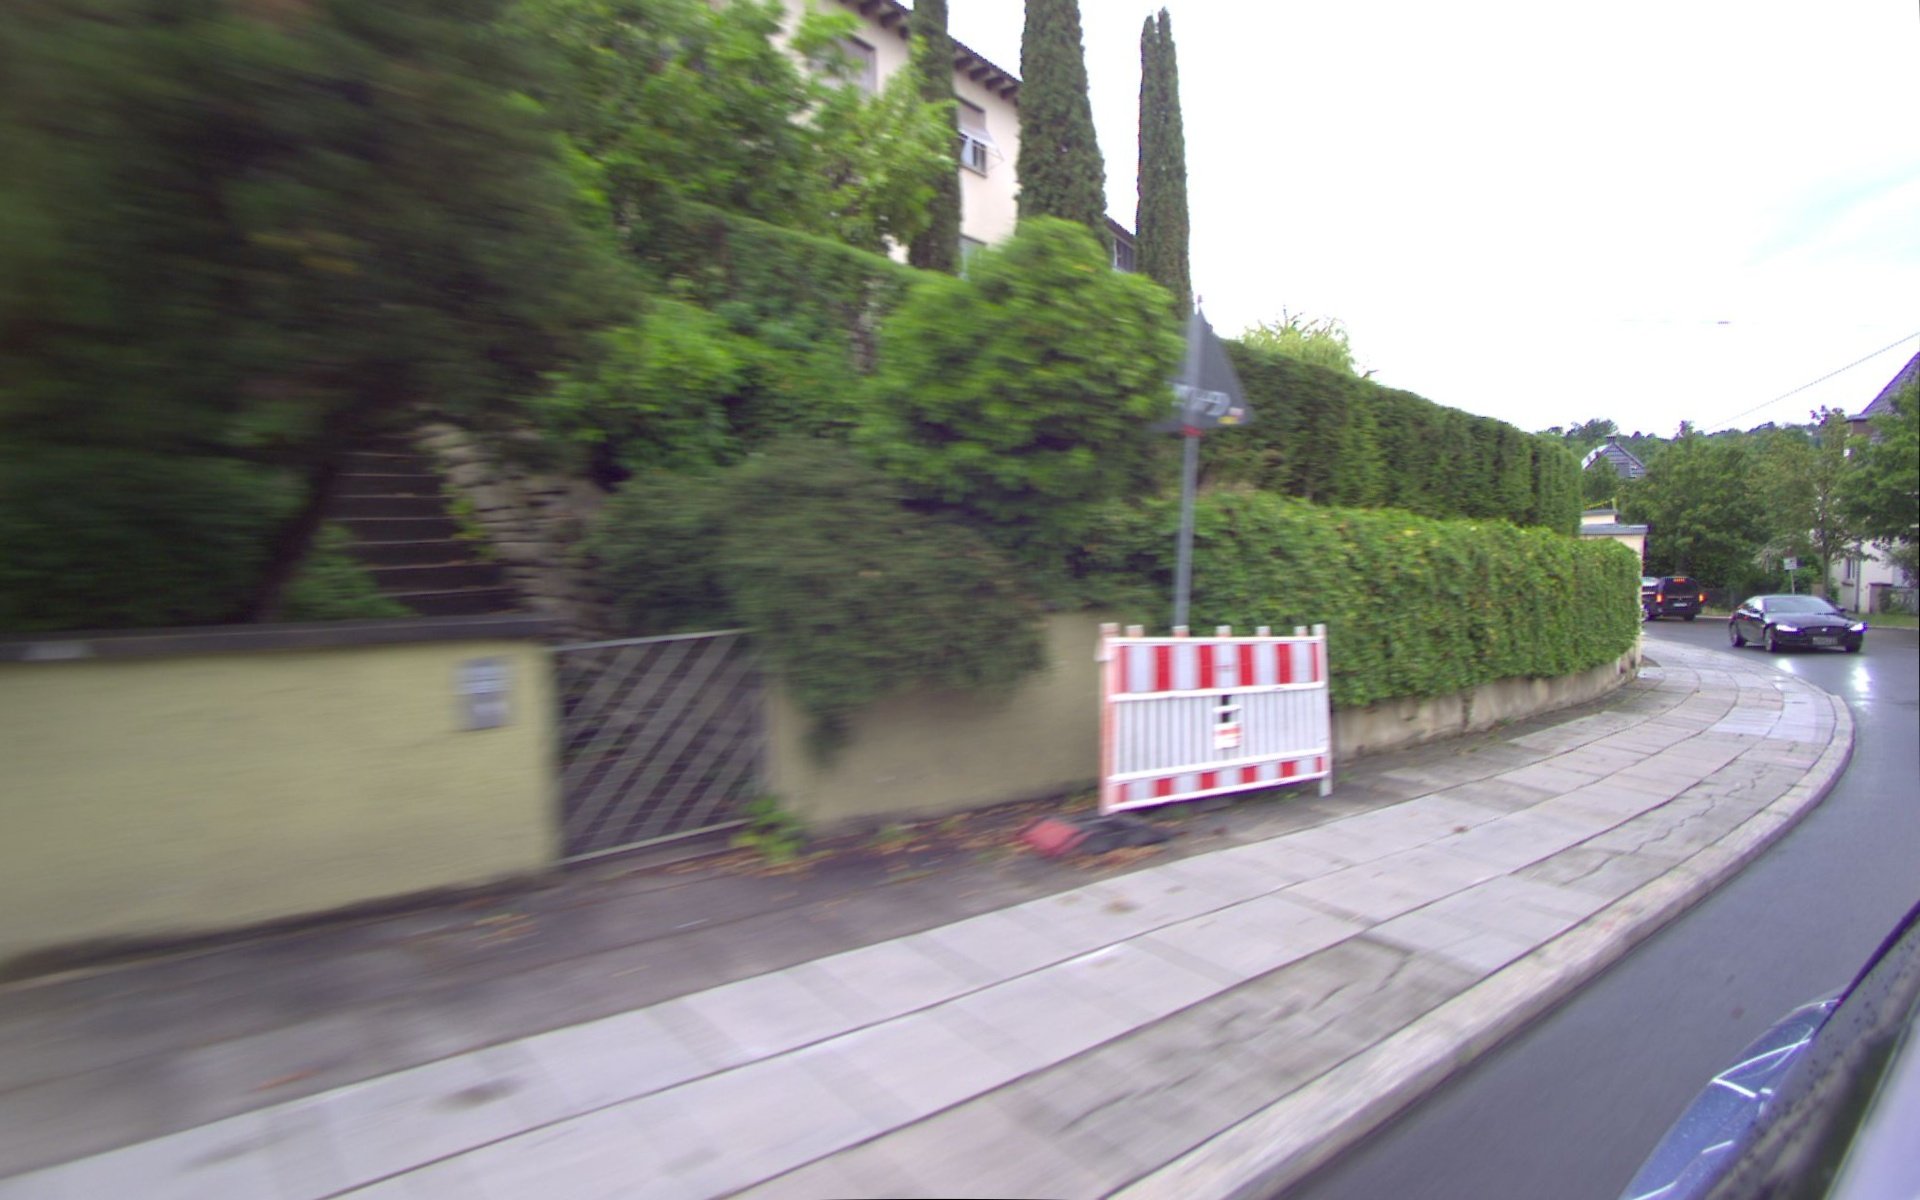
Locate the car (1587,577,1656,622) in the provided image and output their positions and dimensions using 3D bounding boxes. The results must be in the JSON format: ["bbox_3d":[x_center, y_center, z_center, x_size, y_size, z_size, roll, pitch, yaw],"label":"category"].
[{"bbox_3d":[27.411,-0.081,42.055,1.983,1.730,4.529,1,1,29],"label":"car"}]

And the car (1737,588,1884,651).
[{"bbox_3d":[21.755,0.438,26.092,1.824,1.420,4.038,1,1,24],"label":"car"}]

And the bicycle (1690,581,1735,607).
[{"bbox_3d":[39.465,-0.300,53.093,0.482,1.288,2.274,-3,-1,-4],"label":"bicycle"}]

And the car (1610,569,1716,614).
[{"bbox_3d":[31.471,-0.418,45.521,1.872,1.913,5.140,0,1,9],"label":"car"}]
